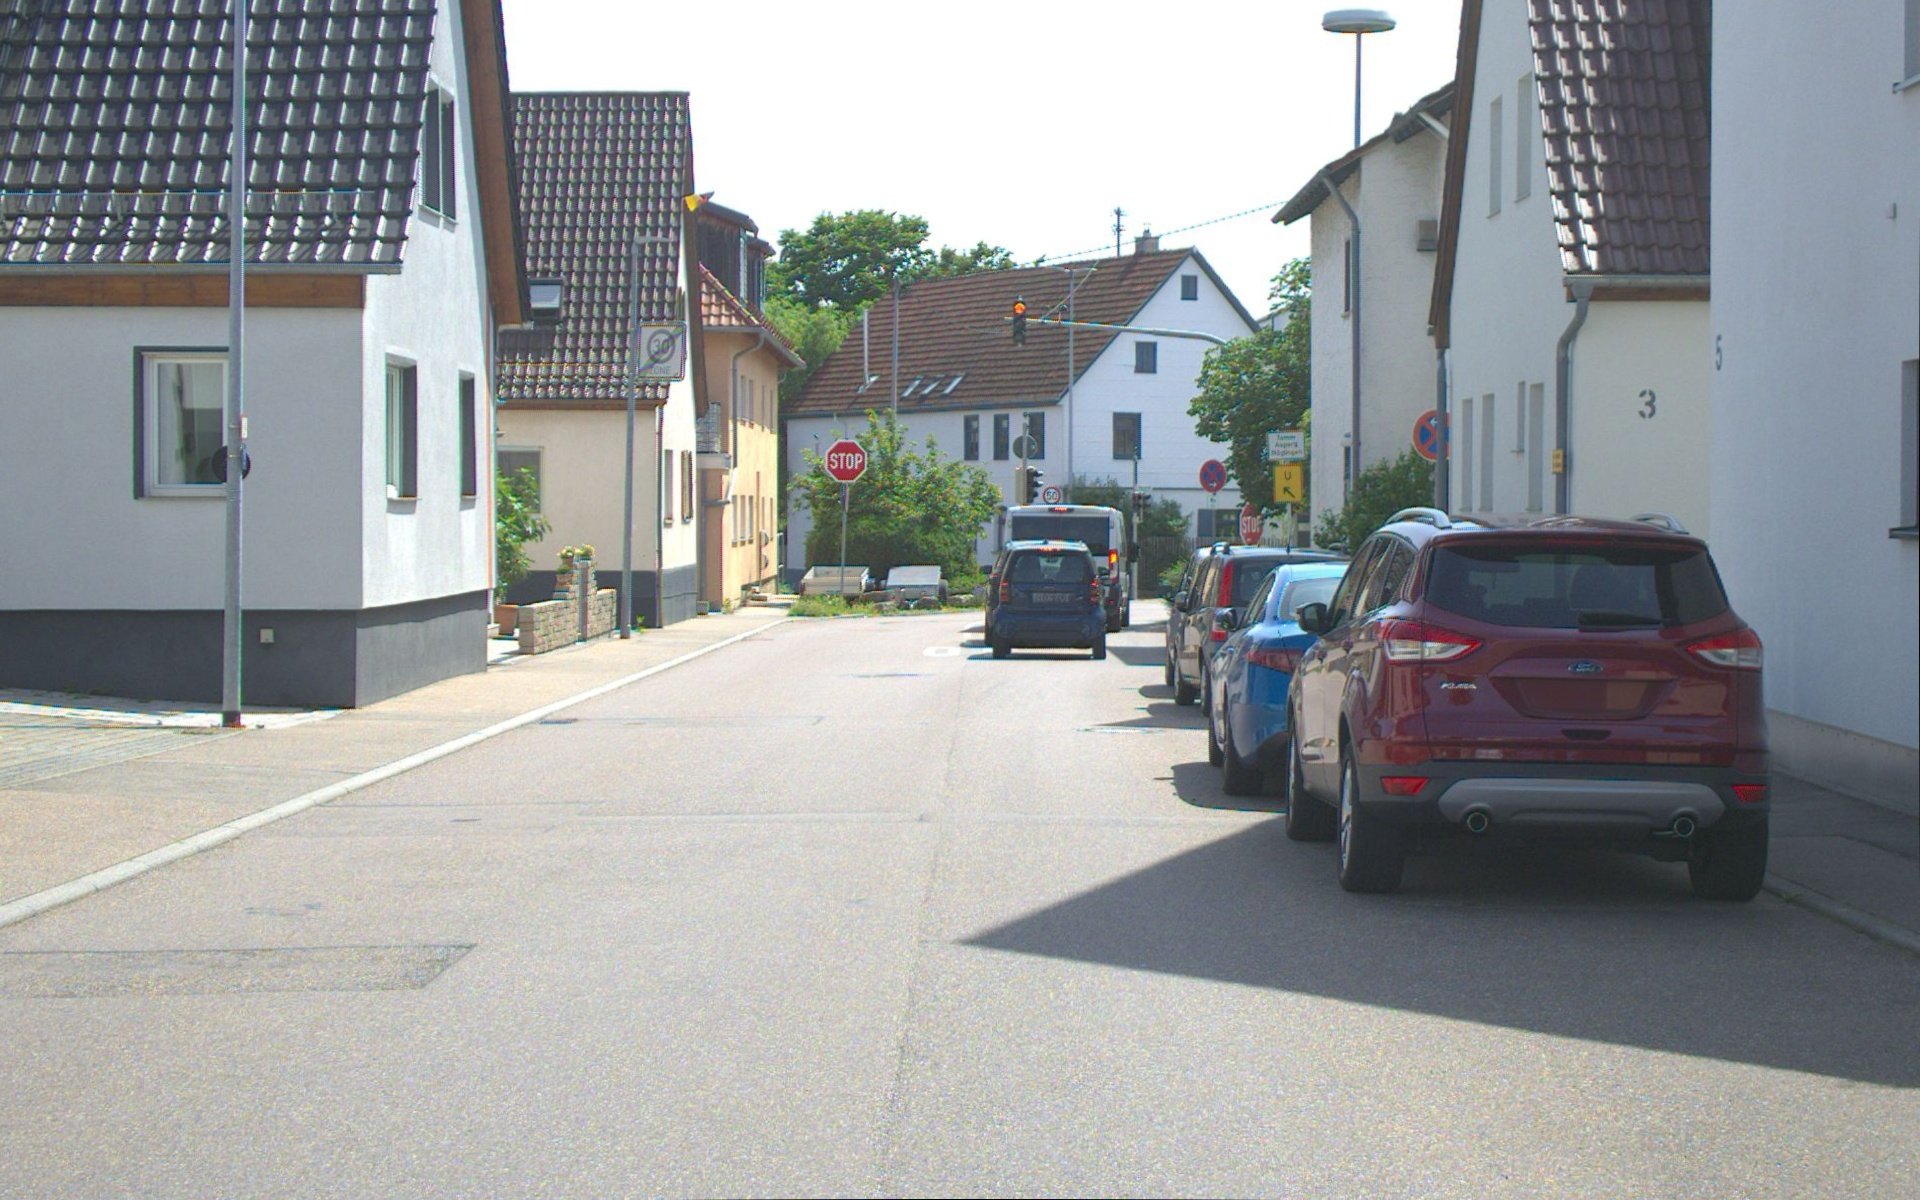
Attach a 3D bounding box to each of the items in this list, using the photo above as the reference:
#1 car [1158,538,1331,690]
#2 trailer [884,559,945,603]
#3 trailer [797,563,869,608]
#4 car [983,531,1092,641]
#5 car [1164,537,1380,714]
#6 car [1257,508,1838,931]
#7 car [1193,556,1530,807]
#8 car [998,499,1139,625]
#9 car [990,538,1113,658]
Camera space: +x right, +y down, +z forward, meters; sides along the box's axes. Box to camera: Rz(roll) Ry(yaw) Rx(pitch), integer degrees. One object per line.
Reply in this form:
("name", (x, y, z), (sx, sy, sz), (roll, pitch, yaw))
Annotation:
("car", (2.958, 0.112, 36.258), (1.498, 1.508, 3.362), (1, 1, -1))
("trailer", (-1.019, -0.430, 76.898), (1.311, 0.967, 0.933), (0, 1, 2))
("trailer", (-2.847, -0.331, 77.092), (1.502, 0.924, 1.012), (2, 1, 2))
("car", (1.199, -0.231, 52.103), (1.516, 1.619, 3.184), (0, 1, 4))
("car", (2.853, 0.194, 32.051), (1.567, 1.540, 3.450), (1, 1, -2))
("car", (2.586, 0.450, 16.169), (1.875, 1.694, 4.183), (1, 1, -2))
("car", (2.495, 0.446, 22.336), (1.763, 1.419, 4.592), (1, 1, 2))
("car", (1.984, -0.699, 61.355), (2.129, 2.151, 4.735), (0, 1, 7))
("car", (1.283, -0.049, 47.158), (1.516, 1.561, 3.184), (1, 1, 4))
